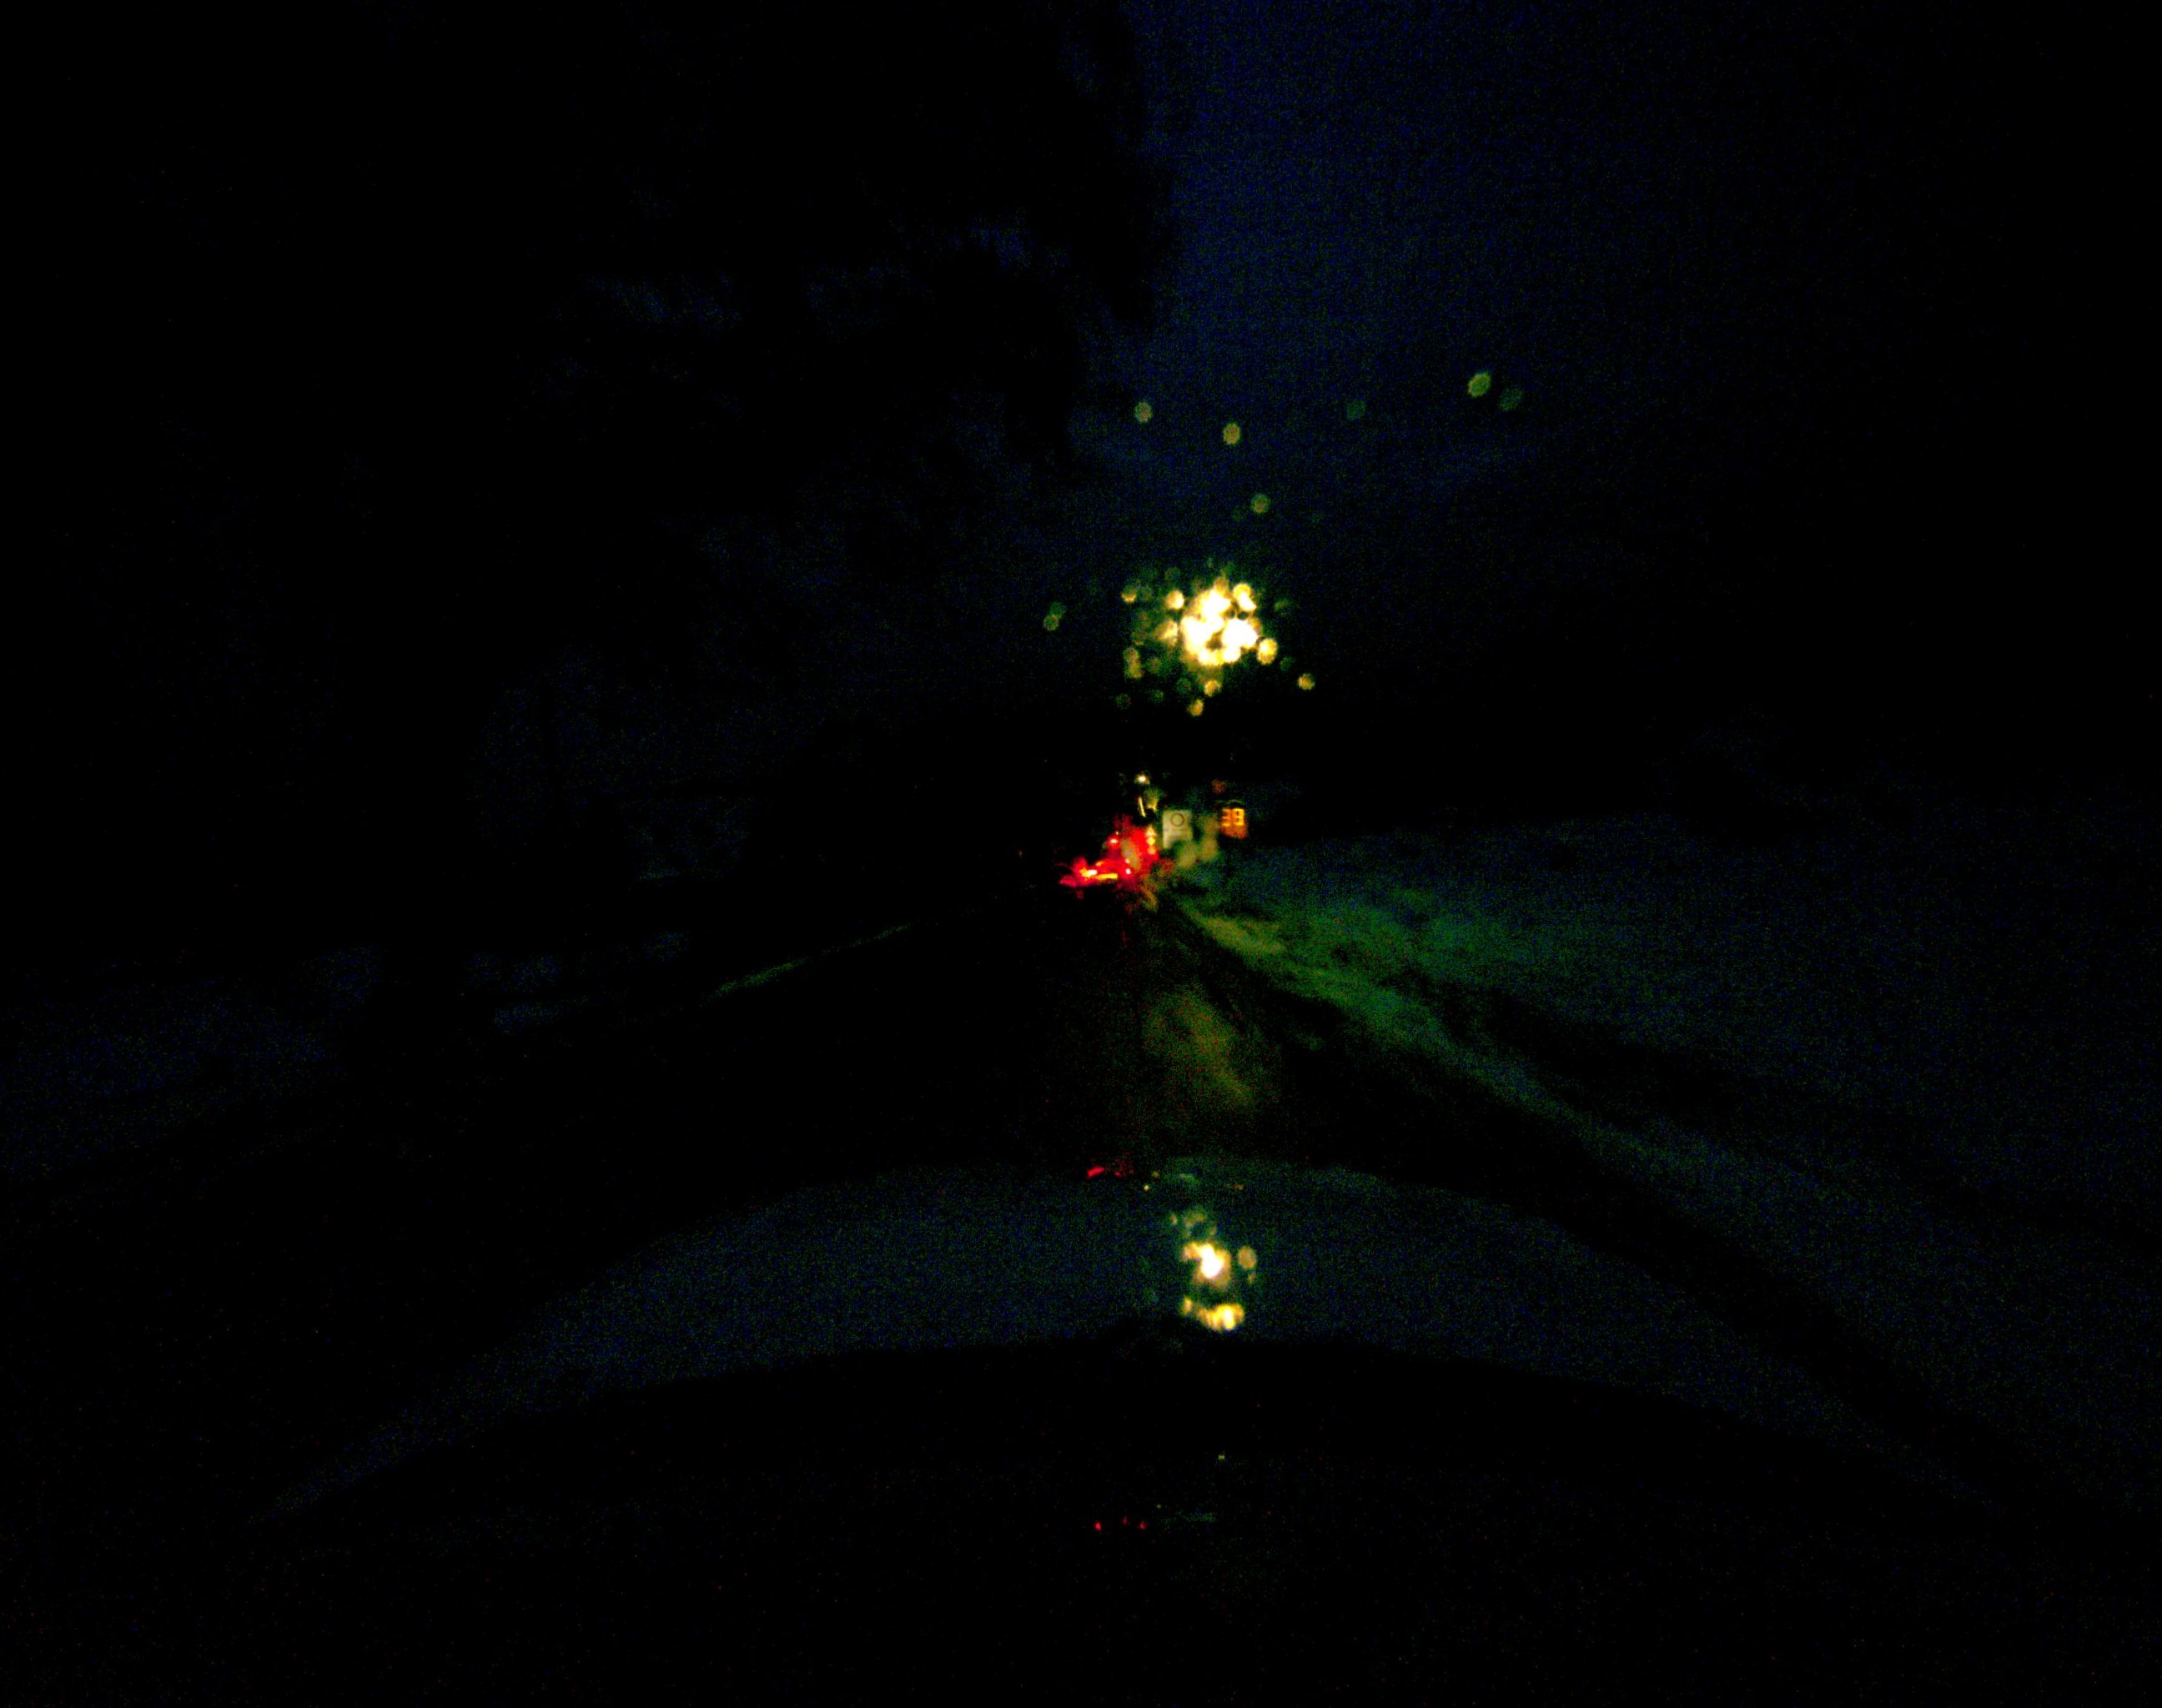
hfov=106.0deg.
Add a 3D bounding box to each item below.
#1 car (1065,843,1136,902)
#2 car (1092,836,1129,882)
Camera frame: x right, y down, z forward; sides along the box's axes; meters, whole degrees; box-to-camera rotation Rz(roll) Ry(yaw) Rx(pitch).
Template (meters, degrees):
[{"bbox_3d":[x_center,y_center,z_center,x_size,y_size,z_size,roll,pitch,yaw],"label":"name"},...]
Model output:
[{"bbox_3d":[0.686,0.624,29.676,2.266,1.840,5.007,-3,0,1],"label":"car"},{"bbox_3d":[2.200,0.407,59.882,2.425,3.019,5.328,-4,-2,3],"label":"car"}]
